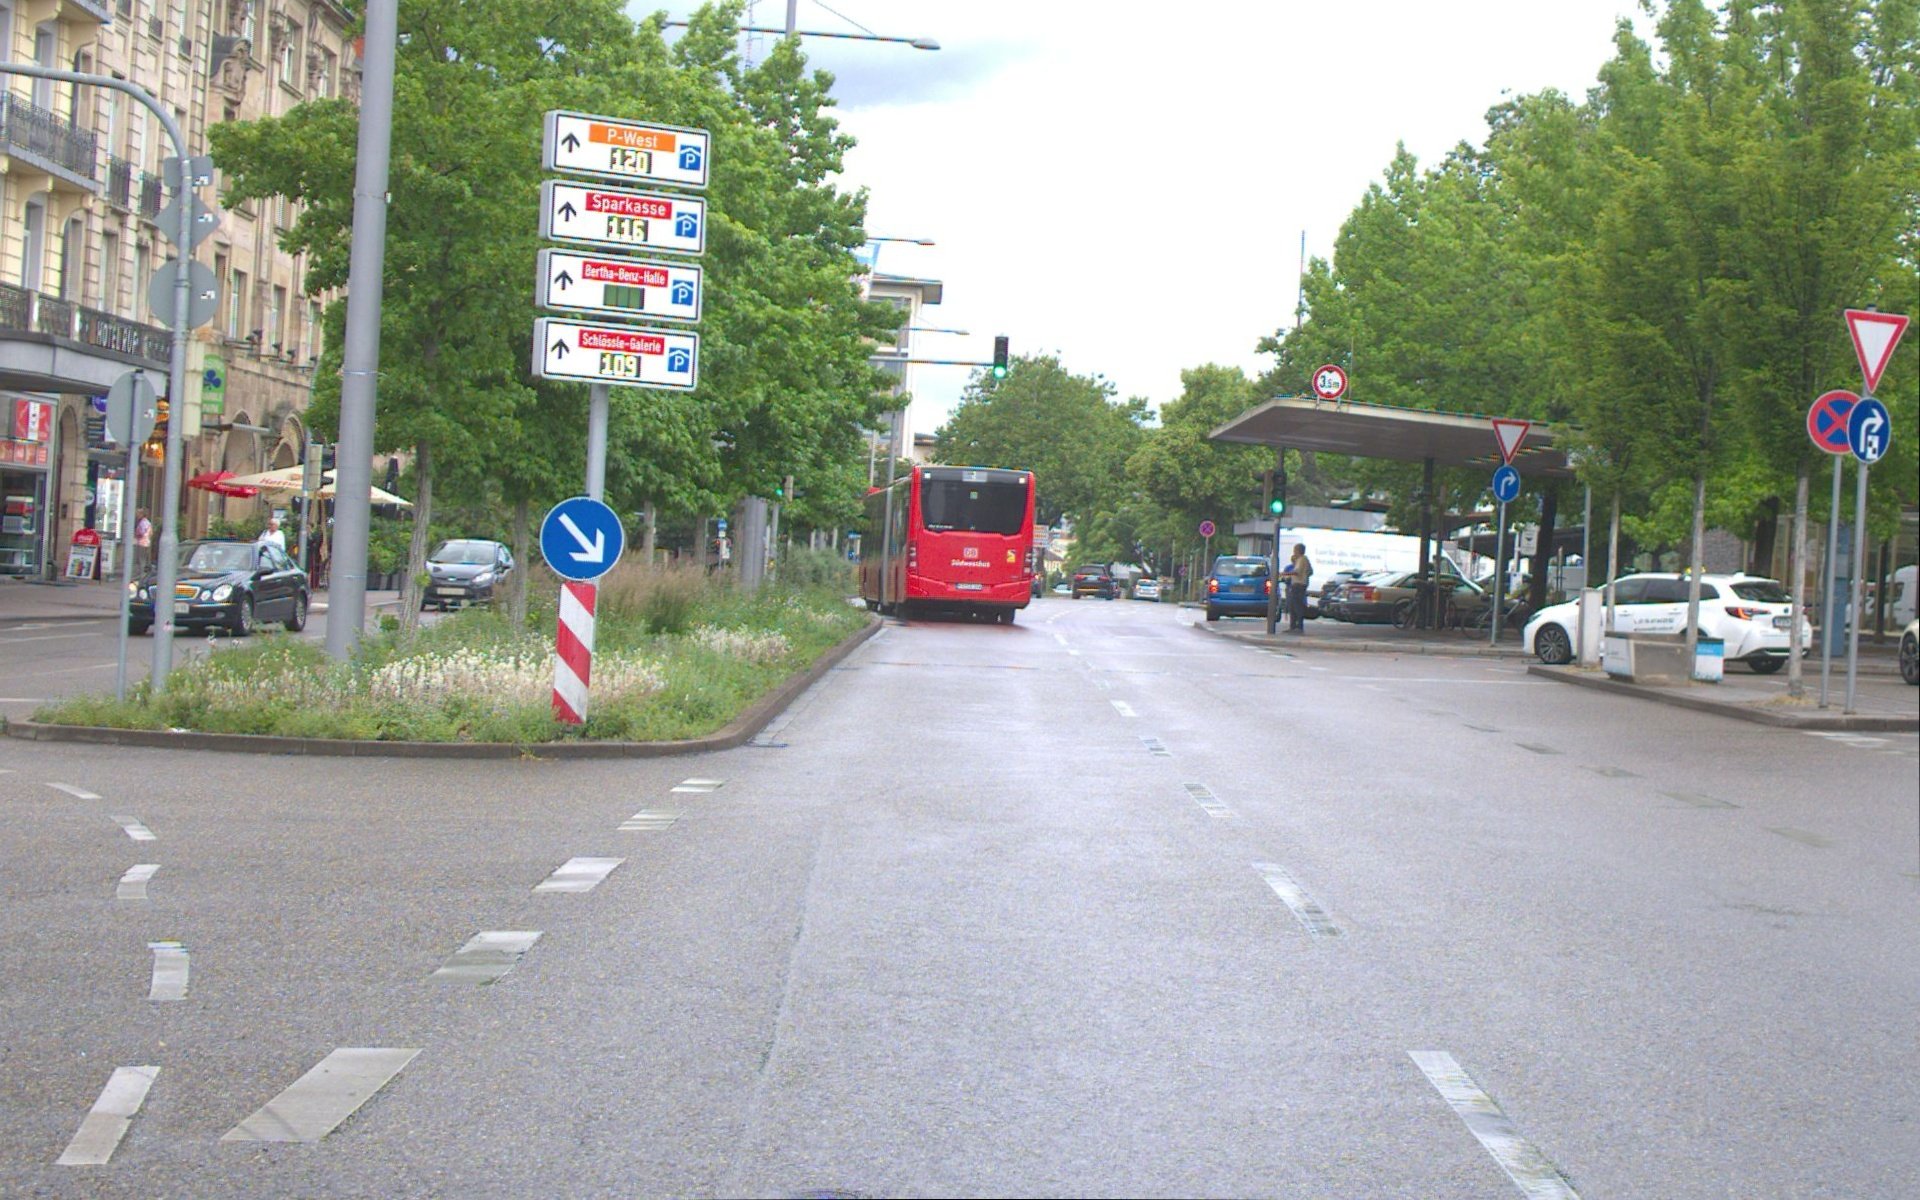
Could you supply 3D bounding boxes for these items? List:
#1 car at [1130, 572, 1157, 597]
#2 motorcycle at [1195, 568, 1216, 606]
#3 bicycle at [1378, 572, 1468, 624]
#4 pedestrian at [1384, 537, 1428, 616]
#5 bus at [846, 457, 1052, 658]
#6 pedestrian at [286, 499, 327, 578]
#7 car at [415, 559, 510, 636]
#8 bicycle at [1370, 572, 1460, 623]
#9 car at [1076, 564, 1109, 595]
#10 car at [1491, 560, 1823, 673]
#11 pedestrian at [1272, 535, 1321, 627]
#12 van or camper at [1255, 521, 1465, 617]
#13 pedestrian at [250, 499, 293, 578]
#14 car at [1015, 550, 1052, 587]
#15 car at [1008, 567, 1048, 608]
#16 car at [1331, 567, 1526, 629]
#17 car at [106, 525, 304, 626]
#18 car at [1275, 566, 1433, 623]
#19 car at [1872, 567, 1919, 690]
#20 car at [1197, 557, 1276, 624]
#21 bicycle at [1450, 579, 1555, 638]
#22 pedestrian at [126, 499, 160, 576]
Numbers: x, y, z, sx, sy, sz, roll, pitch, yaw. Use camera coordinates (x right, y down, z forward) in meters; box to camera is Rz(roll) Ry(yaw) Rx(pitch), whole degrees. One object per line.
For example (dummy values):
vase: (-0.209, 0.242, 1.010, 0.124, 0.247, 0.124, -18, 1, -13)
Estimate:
car: (12.271, -1.029, 229.761, 1.645, 1.655, 3.650, 1, 0, 1)
motorcycle: (8.528, -0.453, 119.327, 0.595, 1.284, 1.953, 1, 1, 6)
bicycle: (9.584, -0.042, 71.159, 1.827, 1.052, 0.420, 1, 0, -17)
pedestrian: (10.479, -0.549, 80.849, 0.856, 1.829, 1.190, 1, 0, 1)
bus: (-0.395, -0.886, 73.861, 3.544, 3.966, 11.173, 1, 0, -4)
pedestrian: (-13.824, -1.291, 72.691, 0.681, 1.658, 0.807, 1, 0, 1)
car: (-10.081, -0.063, 69.879, 1.676, 1.507, 3.864, 1, 0, -5)
bicycle: (9.478, -0.051, 71.609, 1.827, 1.052, 0.420, 1, 0, -17)
car: (6.719, -1.030, 174.962, 1.595, 1.555, 3.650, 1, 0, 1)
car: (10.256, 0.222, 50.901, 1.758, 1.540, 4.776, 2, 0, -39)
pedestrian: (6.521, -0.370, 66.623, 0.746, 1.741, 0.836, 1, 0, -7)
van or camper: (11.923, -0.913, 102.364, 5.945, 2.753, 2.199, 1, 0, -26)
pedestrian: (-14.570, -1.290, 72.772, 0.681, 1.658, 0.807, 1, 0, 4)
car: (4.002, -1.713, 188.338, 1.993, 2.007, 4.000, 1, 0, 1)
car: (3.409, -0.643, 172.734, 1.993, 2.007, 4.000, 1, 0, 1)
car: (11.167, -0.054, 81.916, 4.184, 1.321, 1.841, 2, 0, -19)
car: (-11.243, -0.367, 51.442, 1.955, 1.418, 4.000, 1, 0, 2)
car: (11.048, -0.160, 96.333, 3.986, 1.438, 1.865, 2, 0, -25)
car: (13.658, 0.400, 44.228, 1.993, 1.594, 4.959, 1, 1, -7)
car: (6.843, -0.231, 85.123, 1.859, 1.564, 3.999, 2, 0, 5)
bicycle: (9.870, 0.157, 62.556, 1.827, 1.052, 0.420, 1, 0, 1)
pedestrian: (-17.768, -1.355, 74.775, 0.666, 1.658, 0.537, 1, 0, -7)
